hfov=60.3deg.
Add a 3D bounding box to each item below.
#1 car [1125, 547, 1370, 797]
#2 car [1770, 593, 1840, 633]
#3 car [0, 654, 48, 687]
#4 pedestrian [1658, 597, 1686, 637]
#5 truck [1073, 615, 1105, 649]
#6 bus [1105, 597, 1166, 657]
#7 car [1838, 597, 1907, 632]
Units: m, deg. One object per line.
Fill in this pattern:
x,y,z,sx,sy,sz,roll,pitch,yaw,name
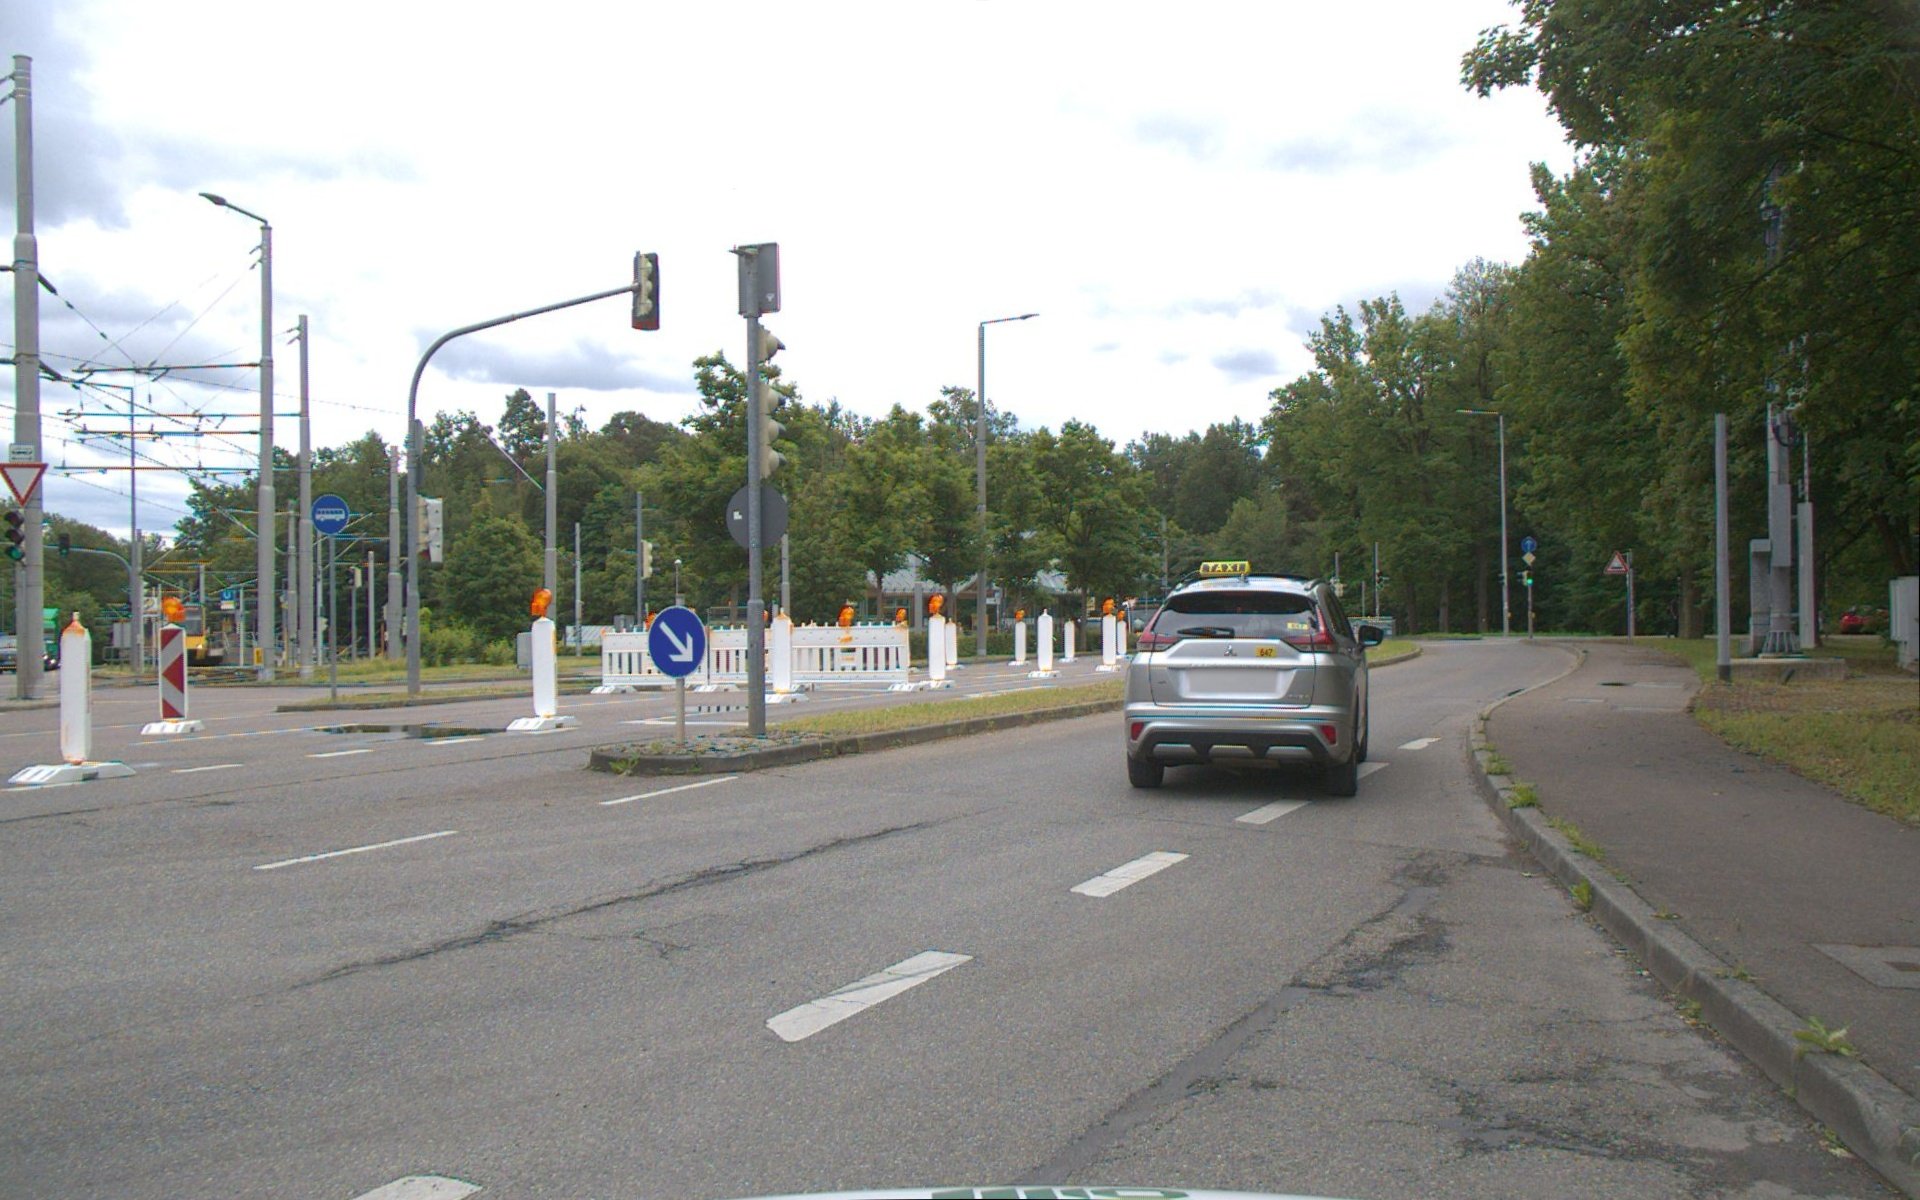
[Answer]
2.521,0.563,13.826,1.736,1.779,3.783,0,-2,14,car
34.416,0.527,67.334,1.805,1.563,3.981,-2,-1,38,car
-47.228,3.521,83.131,1.935,1.567,4.280,-1,-1,-22,car
27.728,0.648,64.414,0.827,1.532,0.787,-2,-1,38,pedestrian
13.579,3.413,173.962,2.433,3.345,8.515,-1,-3,-1,truck
11.442,1.782,109.141,2.763,3.666,12.804,-1,-1,1,bus
36.536,0.572,66.167,1.805,1.349,3.981,-2,-1,38,car
